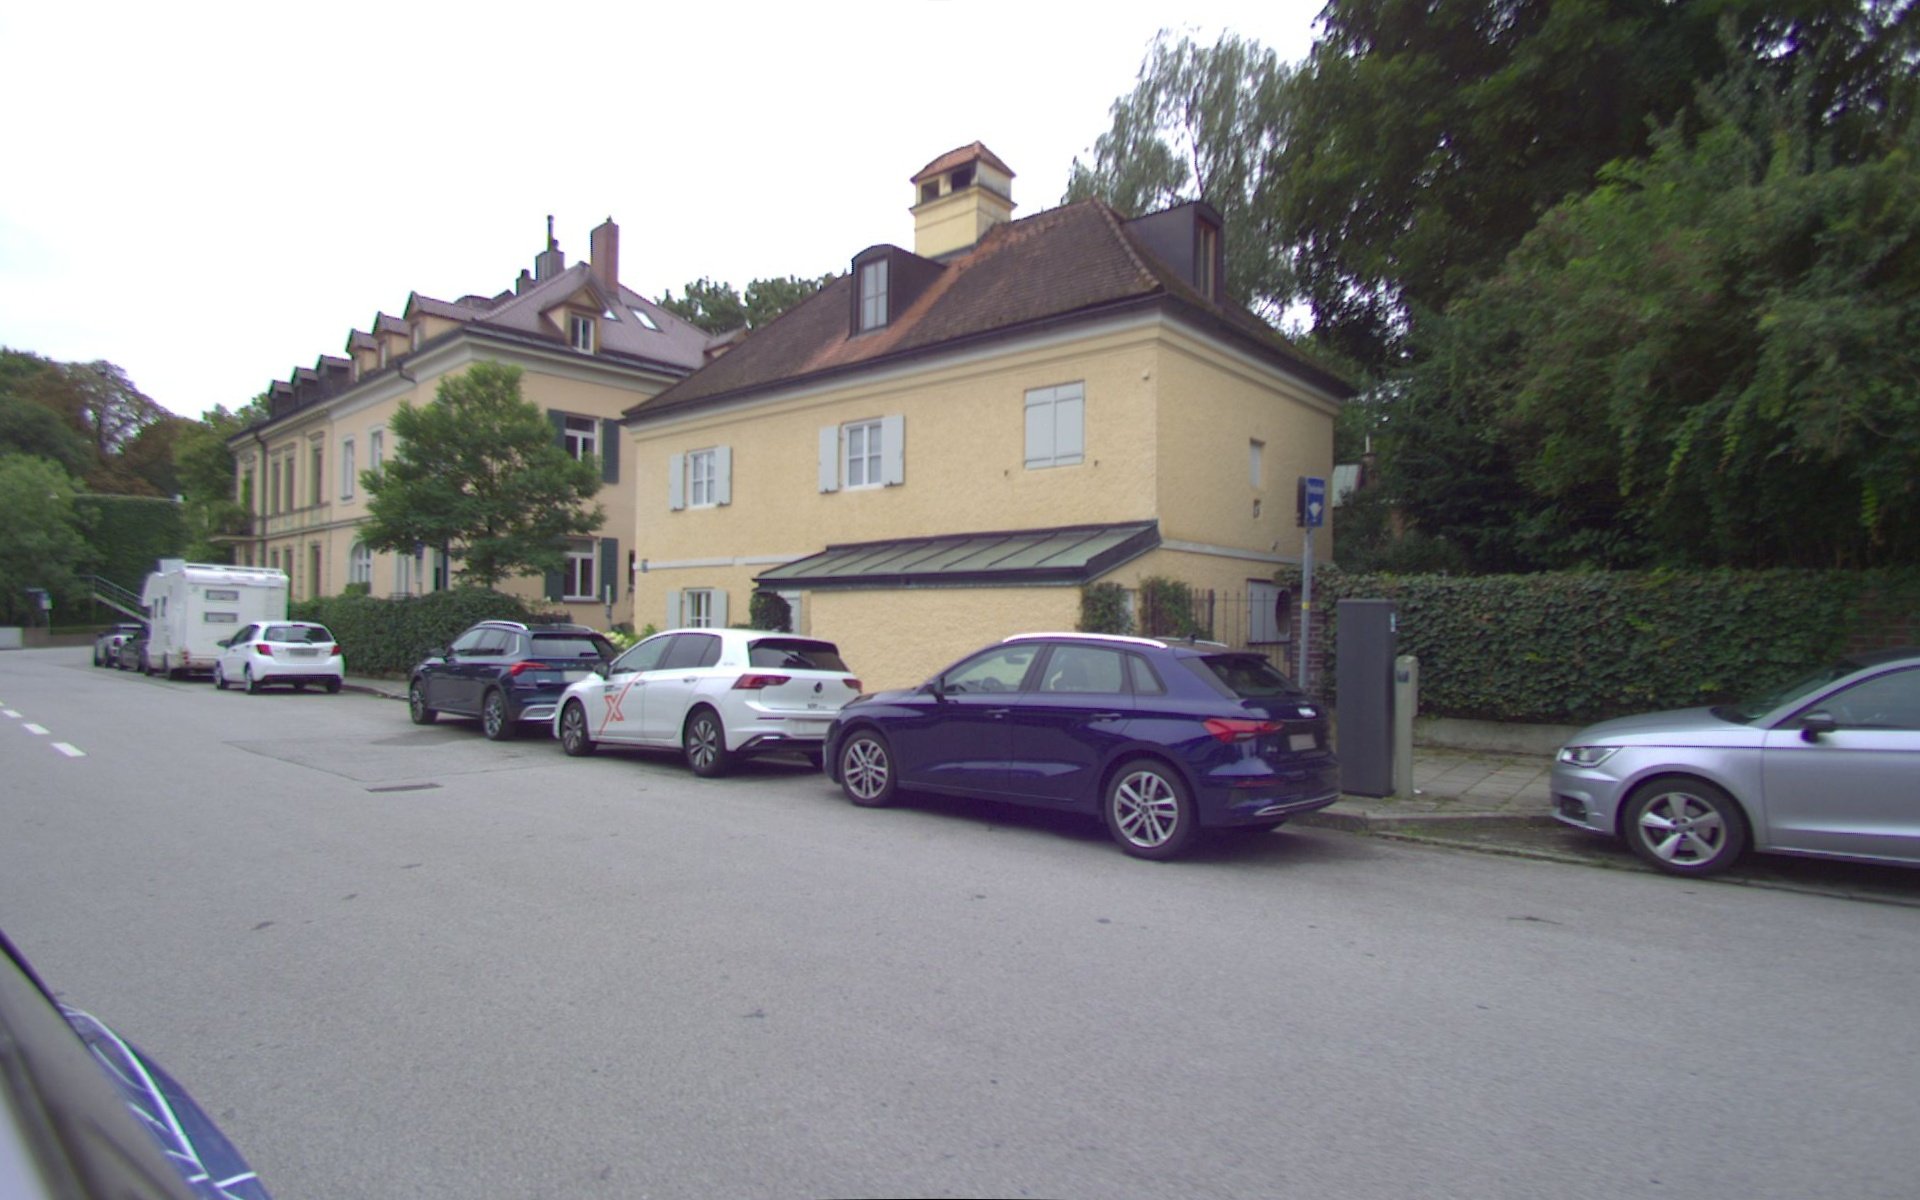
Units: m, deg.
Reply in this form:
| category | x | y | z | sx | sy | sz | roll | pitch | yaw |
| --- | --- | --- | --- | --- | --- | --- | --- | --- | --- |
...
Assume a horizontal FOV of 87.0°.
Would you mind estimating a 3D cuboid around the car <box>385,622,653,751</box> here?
| category | x | y | z | sx | sy | sz | roll | pitch | yaw |
| --- | --- | --- | --- | --- | --- | --- | --- | --- | --- |
| car | -6.442 | 1.143 | 14.532 | 4.441 | 1.547 | 1.825 | -1 | -4 | 43 |

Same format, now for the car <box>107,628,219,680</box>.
| category | x | y | z | sx | sy | sz | roll | pitch | yaw |
| --- | --- | --- | --- | --- | --- | --- | --- | --- | --- |
| car | -25.620 | 1.711 | 32.475 | 4.820 | 1.520 | 1.915 | -1 | -5 | 42 |

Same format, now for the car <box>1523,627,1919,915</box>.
| category | x | y | z | sx | sy | sz | roll | pitch | yaw |
| --- | --- | --- | --- | --- | --- | --- | --- | --- | --- |
| car | 5.864 | 0.971 | 6.016 | 4.146 | 1.547 | 1.722 | -1 | -5 | 41 |

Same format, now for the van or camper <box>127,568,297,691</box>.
| category | x | y | z | sx | sy | sz | roll | pitch | yaw |
| --- | --- | --- | --- | --- | --- | --- | --- | --- | --- |
| van or camper | -20.540 | 0.845 | 27.631 | 7.213 | 2.963 | 2.427 | -2 | -4 | 44 |

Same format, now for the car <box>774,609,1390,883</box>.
| category | x | y | z | sx | sy | sz | roll | pitch | yaw |
| --- | --- | --- | --- | --- | --- | --- | --- | --- | --- |
| car | 0.725 | 0.925 | 7.943 | 4.559 | 1.547 | 1.826 | -1 | -5 | 41 |

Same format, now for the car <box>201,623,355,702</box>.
| category | x | y | z | sx | sy | sz | roll | pitch | yaw |
| --- | --- | --- | --- | --- | --- | --- | --- | --- | --- |
| car | -14.876 | 1.335 | 21.982 | 4.227 | 1.547 | 1.759 | -2 | -5 | 42 |

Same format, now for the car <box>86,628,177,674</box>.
| category | x | y | z | sx | sy | sz | roll | pitch | yaw |
| --- | --- | --- | --- | --- | --- | --- | --- | --- | --- |
| car | -29.911 | 1.832 | 36.483 | 4.531 | 1.547 | 1.914 | -2 | -5 | 43 |

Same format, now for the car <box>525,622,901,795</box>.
| category | x | y | z | sx | sy | sz | roll | pitch | yaw |
| --- | --- | --- | --- | --- | --- | --- | --- | --- | --- |
| car | -2.901 | 1.072 | 11.263 | 4.520 | 1.547 | 1.825 | -2 | -5 | 43 |
